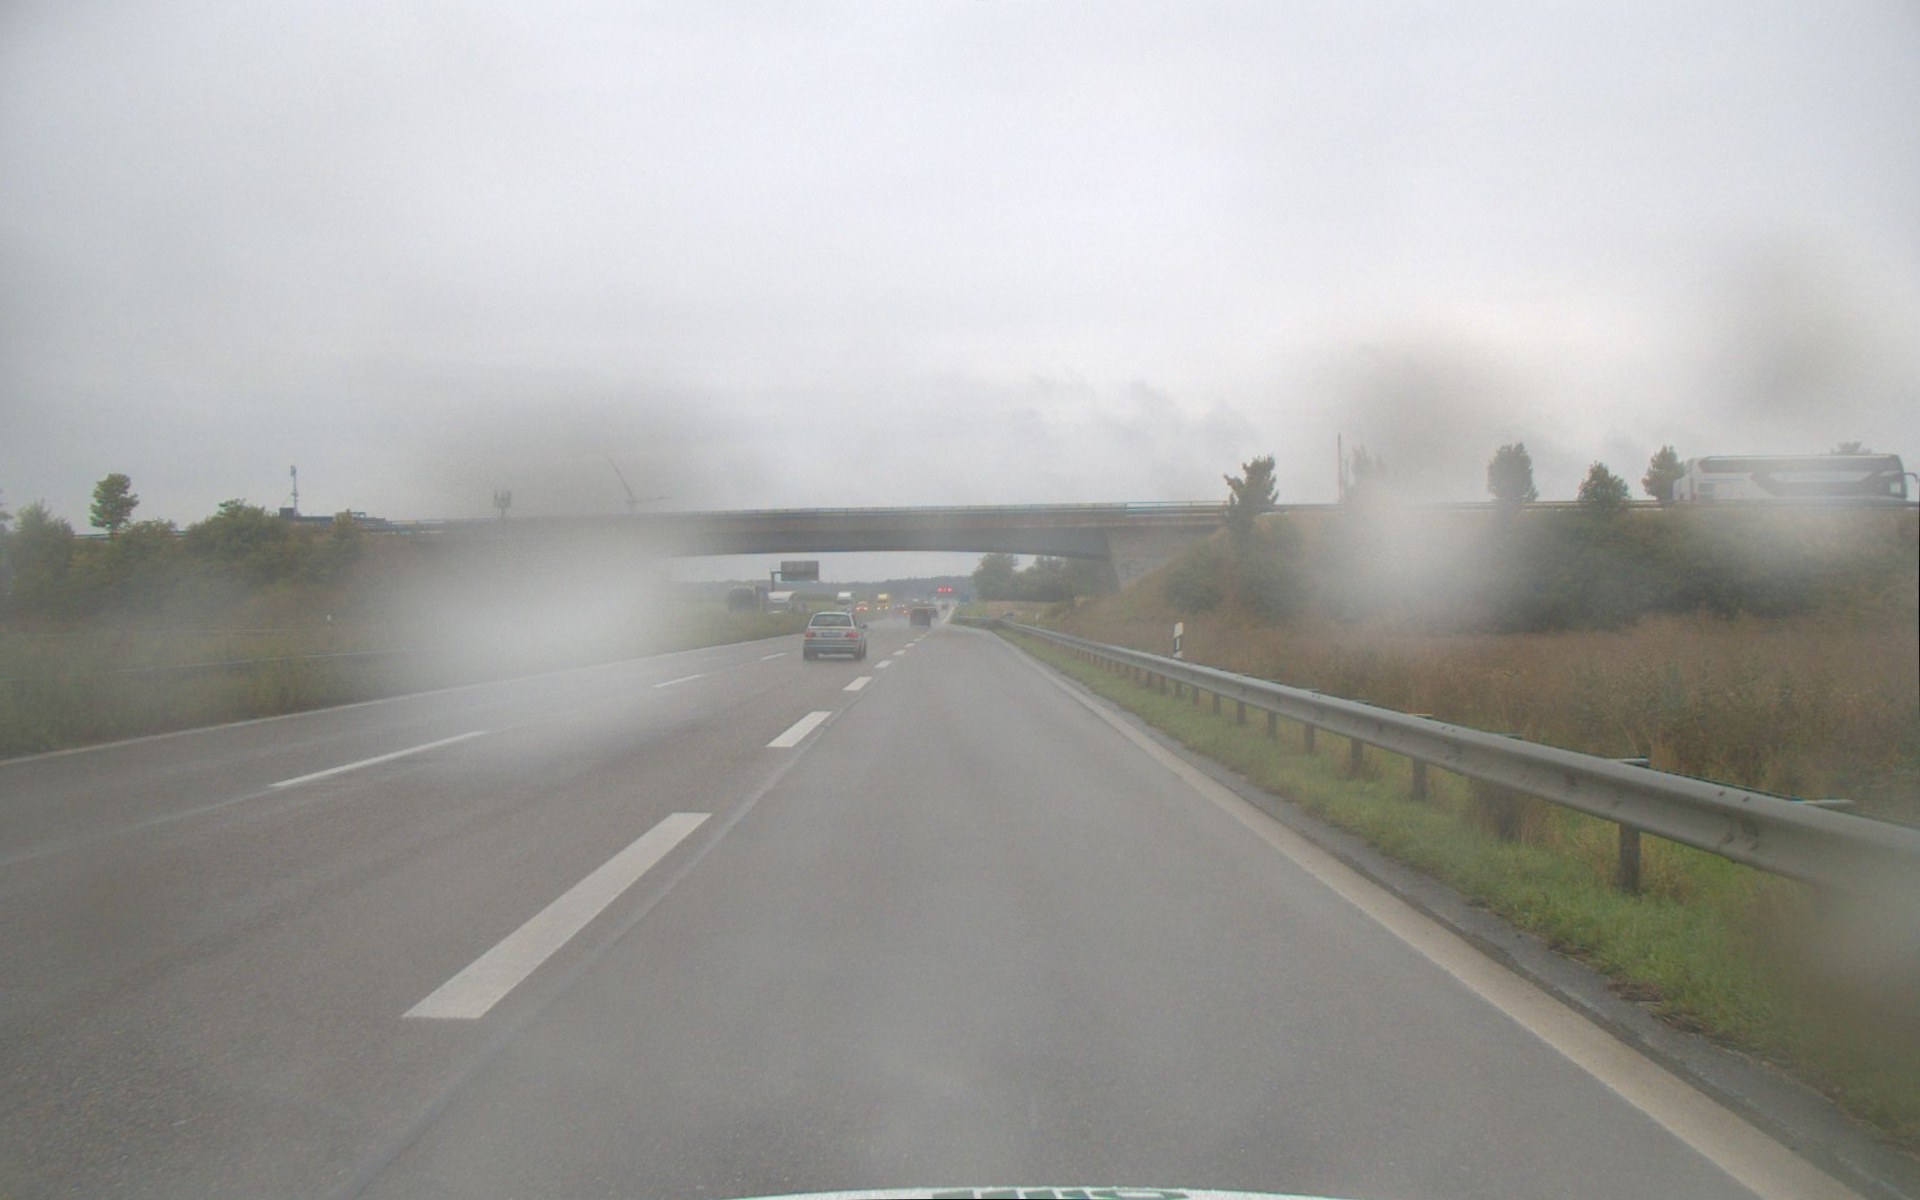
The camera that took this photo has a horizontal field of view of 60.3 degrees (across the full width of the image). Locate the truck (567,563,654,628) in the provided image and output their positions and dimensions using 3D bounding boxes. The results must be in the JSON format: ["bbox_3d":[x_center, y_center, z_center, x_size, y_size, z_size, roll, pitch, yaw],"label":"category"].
[{"bbox_3d":[-19.848,-0.196,94.569,2.932,3.435,11.045,-1,0,-2],"label":"truck"}]

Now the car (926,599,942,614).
[{"bbox_3d":[-3.419,0.880,214.913,1.953,1.727,4.000,-2,2,-1],"label":"car"}]

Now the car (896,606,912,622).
[{"bbox_3d":[-7.057,1.695,208.174,1.953,1.780,4.000,-2,2,-1],"label":"car"}]

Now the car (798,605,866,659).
[{"bbox_3d":[-3.842,0.949,50.207,1.836,1.514,4.794,-1,-1,-2],"label":"car"}]

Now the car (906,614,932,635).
[{"bbox_3d":[-3.355,1.991,135.775,2.102,1.665,4.594,1,-1,-1],"label":"car"}]
